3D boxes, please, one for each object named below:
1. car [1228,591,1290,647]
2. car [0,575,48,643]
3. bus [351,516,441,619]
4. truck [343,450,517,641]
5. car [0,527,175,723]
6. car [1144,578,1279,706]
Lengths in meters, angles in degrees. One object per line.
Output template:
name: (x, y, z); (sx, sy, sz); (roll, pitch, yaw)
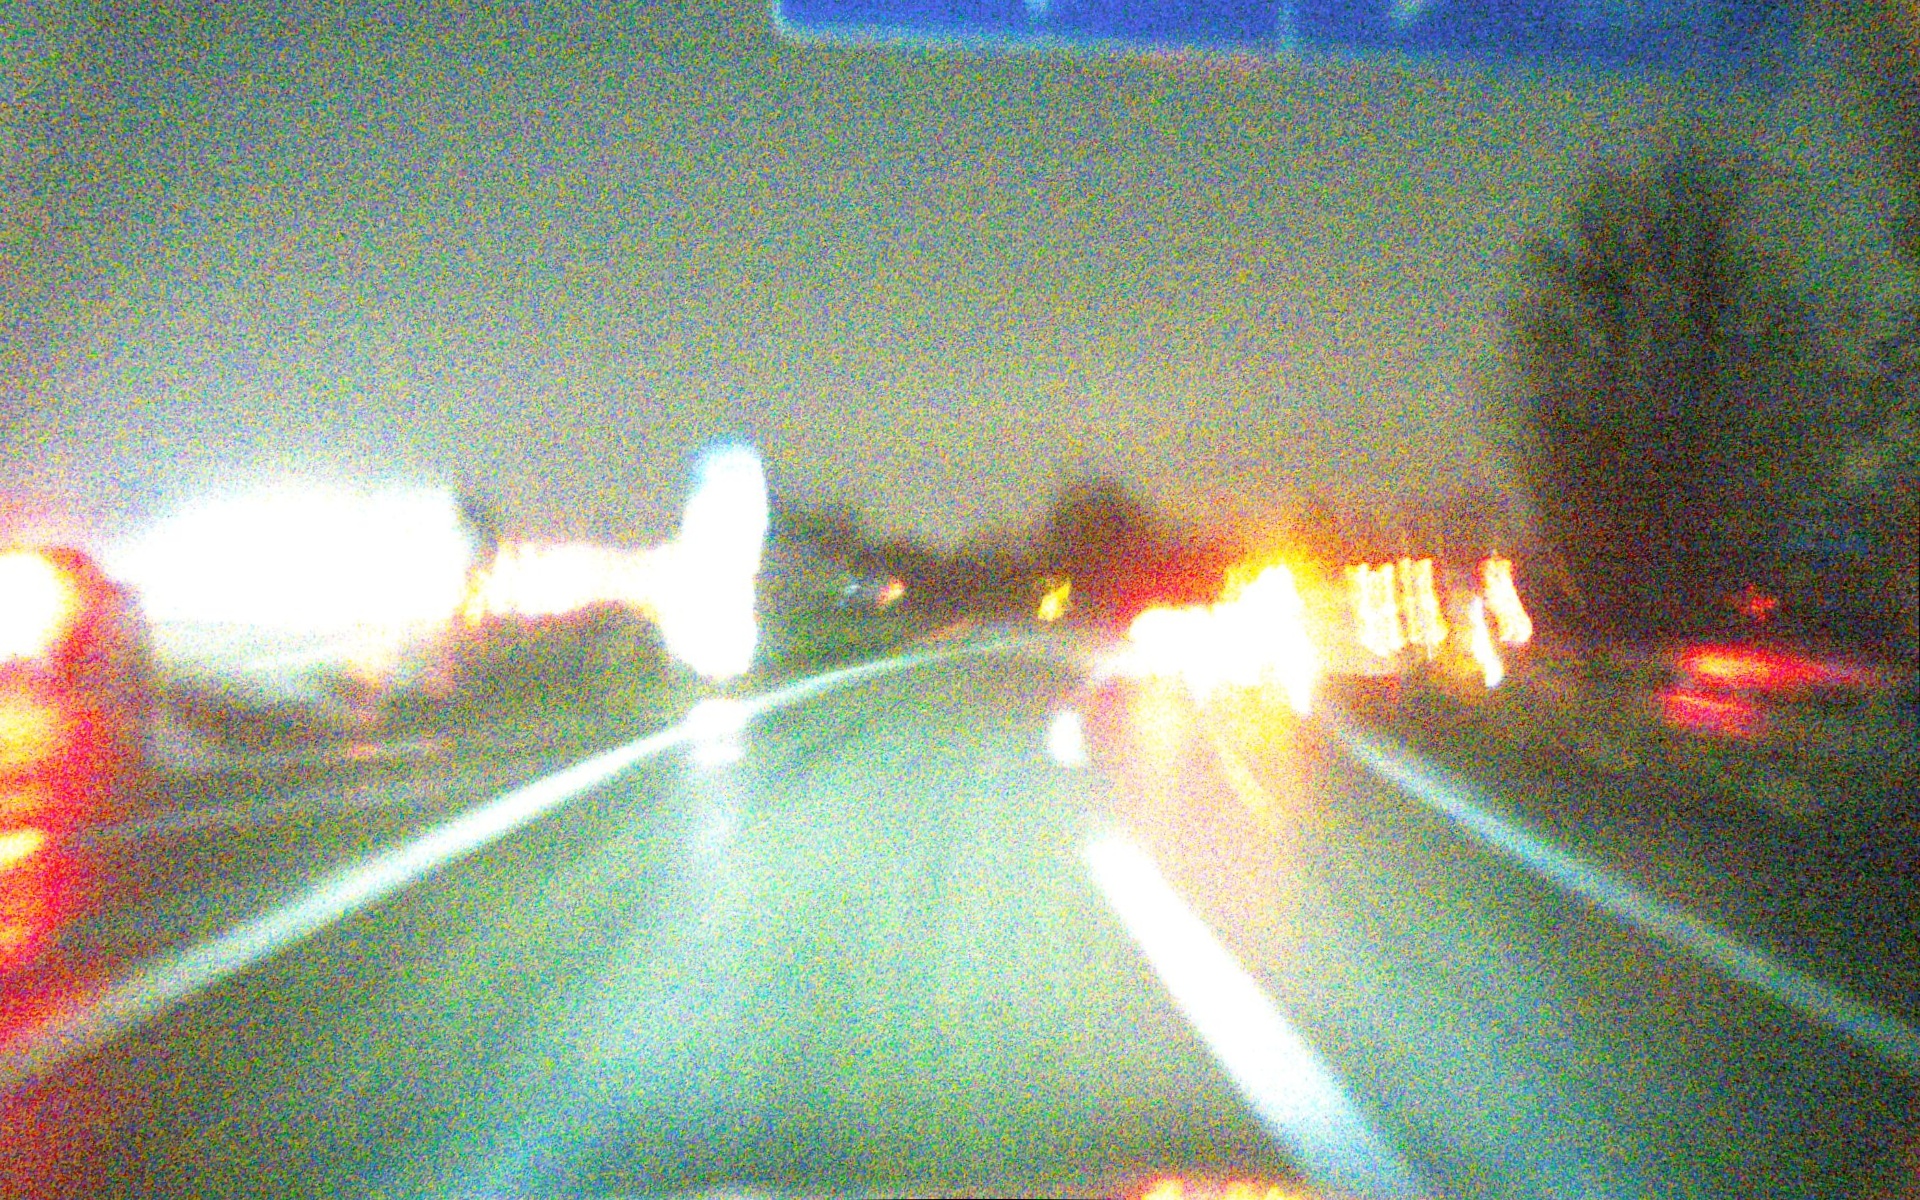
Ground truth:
car: (10.582, 0.680, 58.356); (1.951, 1.839, 4.003); (2, 0, 12)
car: (-22.483, 0.166, 37.001); (1.957, 1.502, 5.154); (2, 0, -9)
bus: (-27.633, -1.520, 81.453); (3.044, 4.586, 10.874); (2, 0, -14)
truck: (-17.953, -1.696, 57.007); (4.135, 5.747, 11.436); (2, 0, -11)
car: (-11.024, 0.226, 19.562); (2.089, 2.049, 4.631); (2, 0, -13)
car: (4.011, 0.643, 26.929); (1.951, 1.839, 4.003); (2, 0, 6)
